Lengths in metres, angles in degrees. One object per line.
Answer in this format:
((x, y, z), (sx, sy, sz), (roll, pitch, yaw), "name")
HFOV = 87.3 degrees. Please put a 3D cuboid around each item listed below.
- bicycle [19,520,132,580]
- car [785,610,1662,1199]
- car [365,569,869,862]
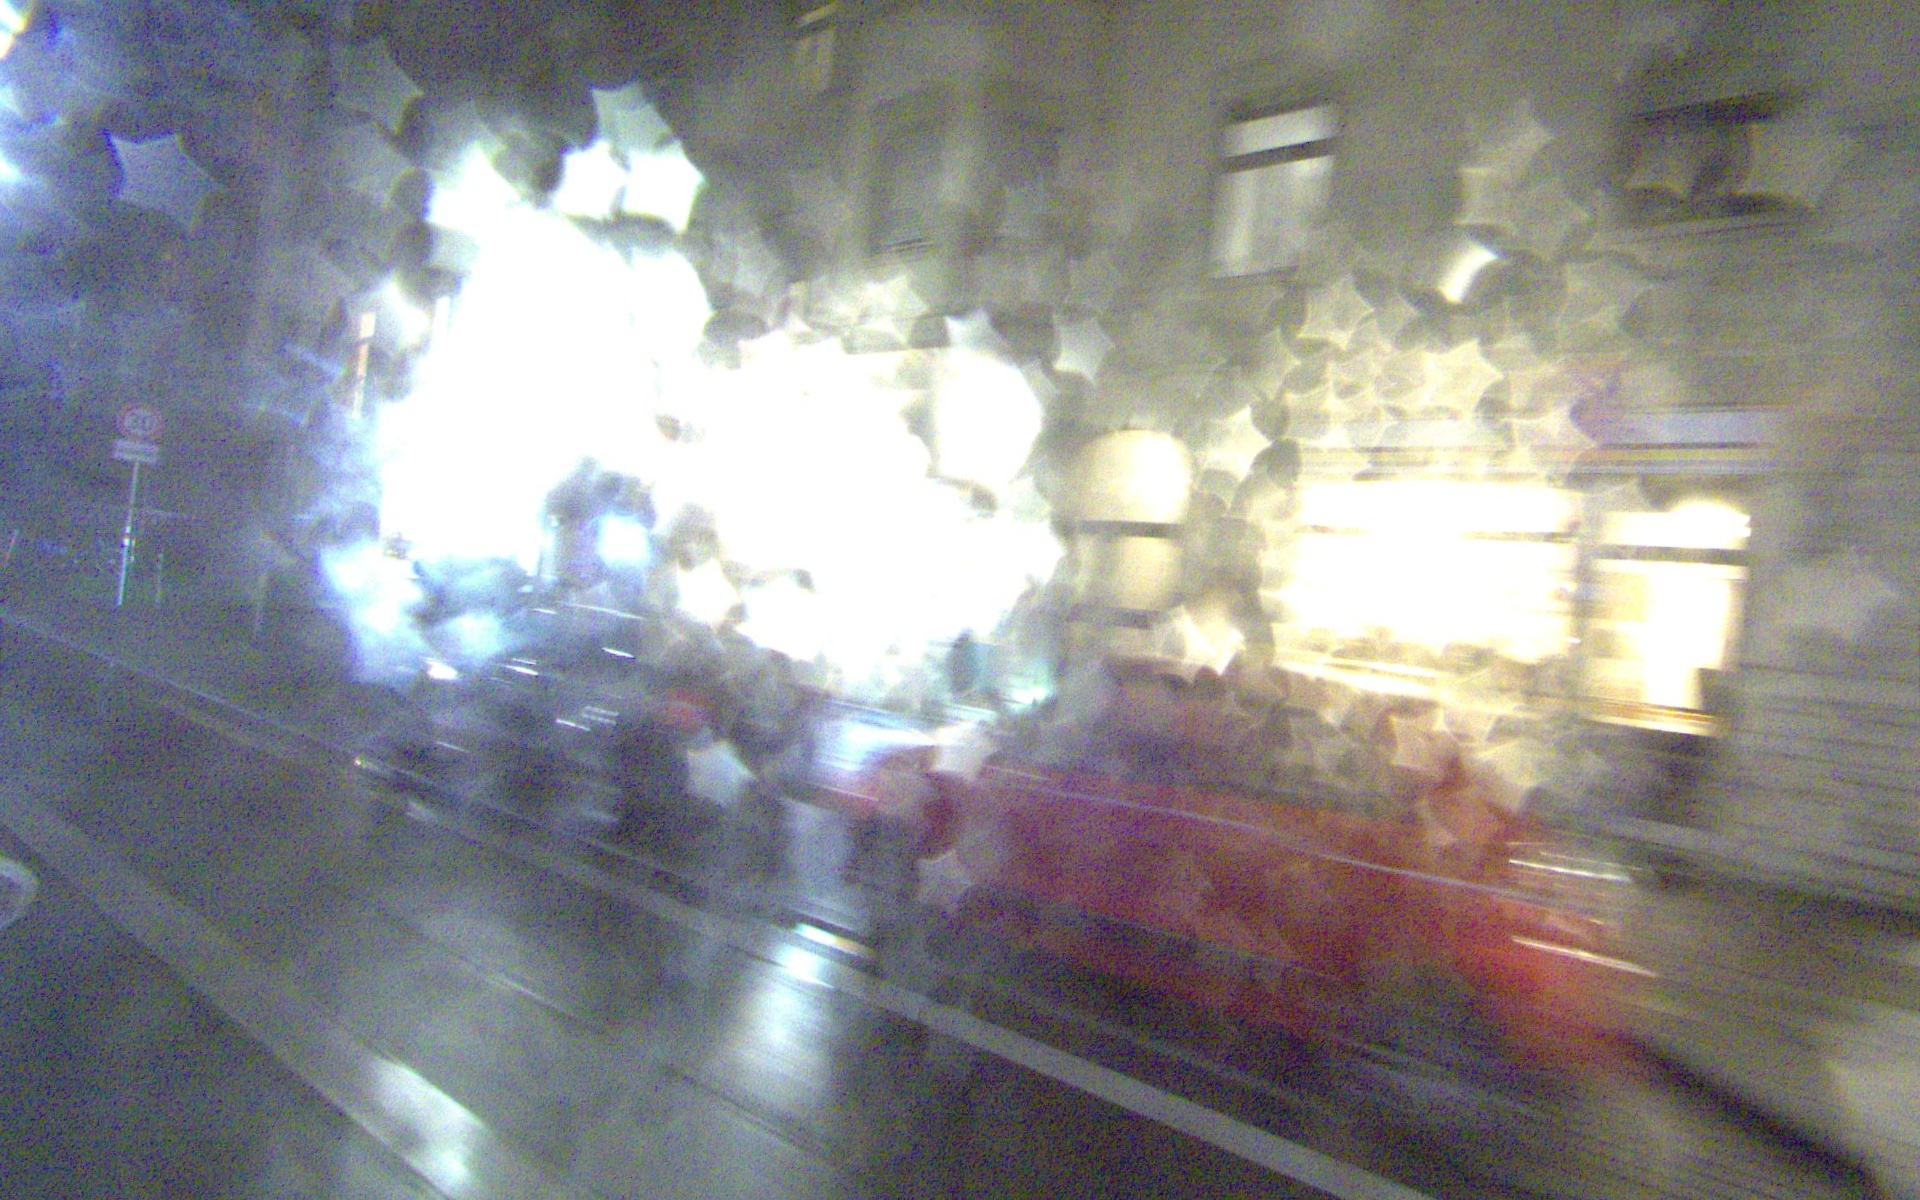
((-19.840, -1.100, 22.602), (0.485, 1.179, 1.812), (5, 1, 35), "bicycle")
((1.045, 0.985, 4.719), (3.526, 1.545, 1.645), (6, 3, 37), "car")
((-2.764, 0.657, 7.678), (3.994, 1.461, 1.642), (6, 3, 37), "car")
